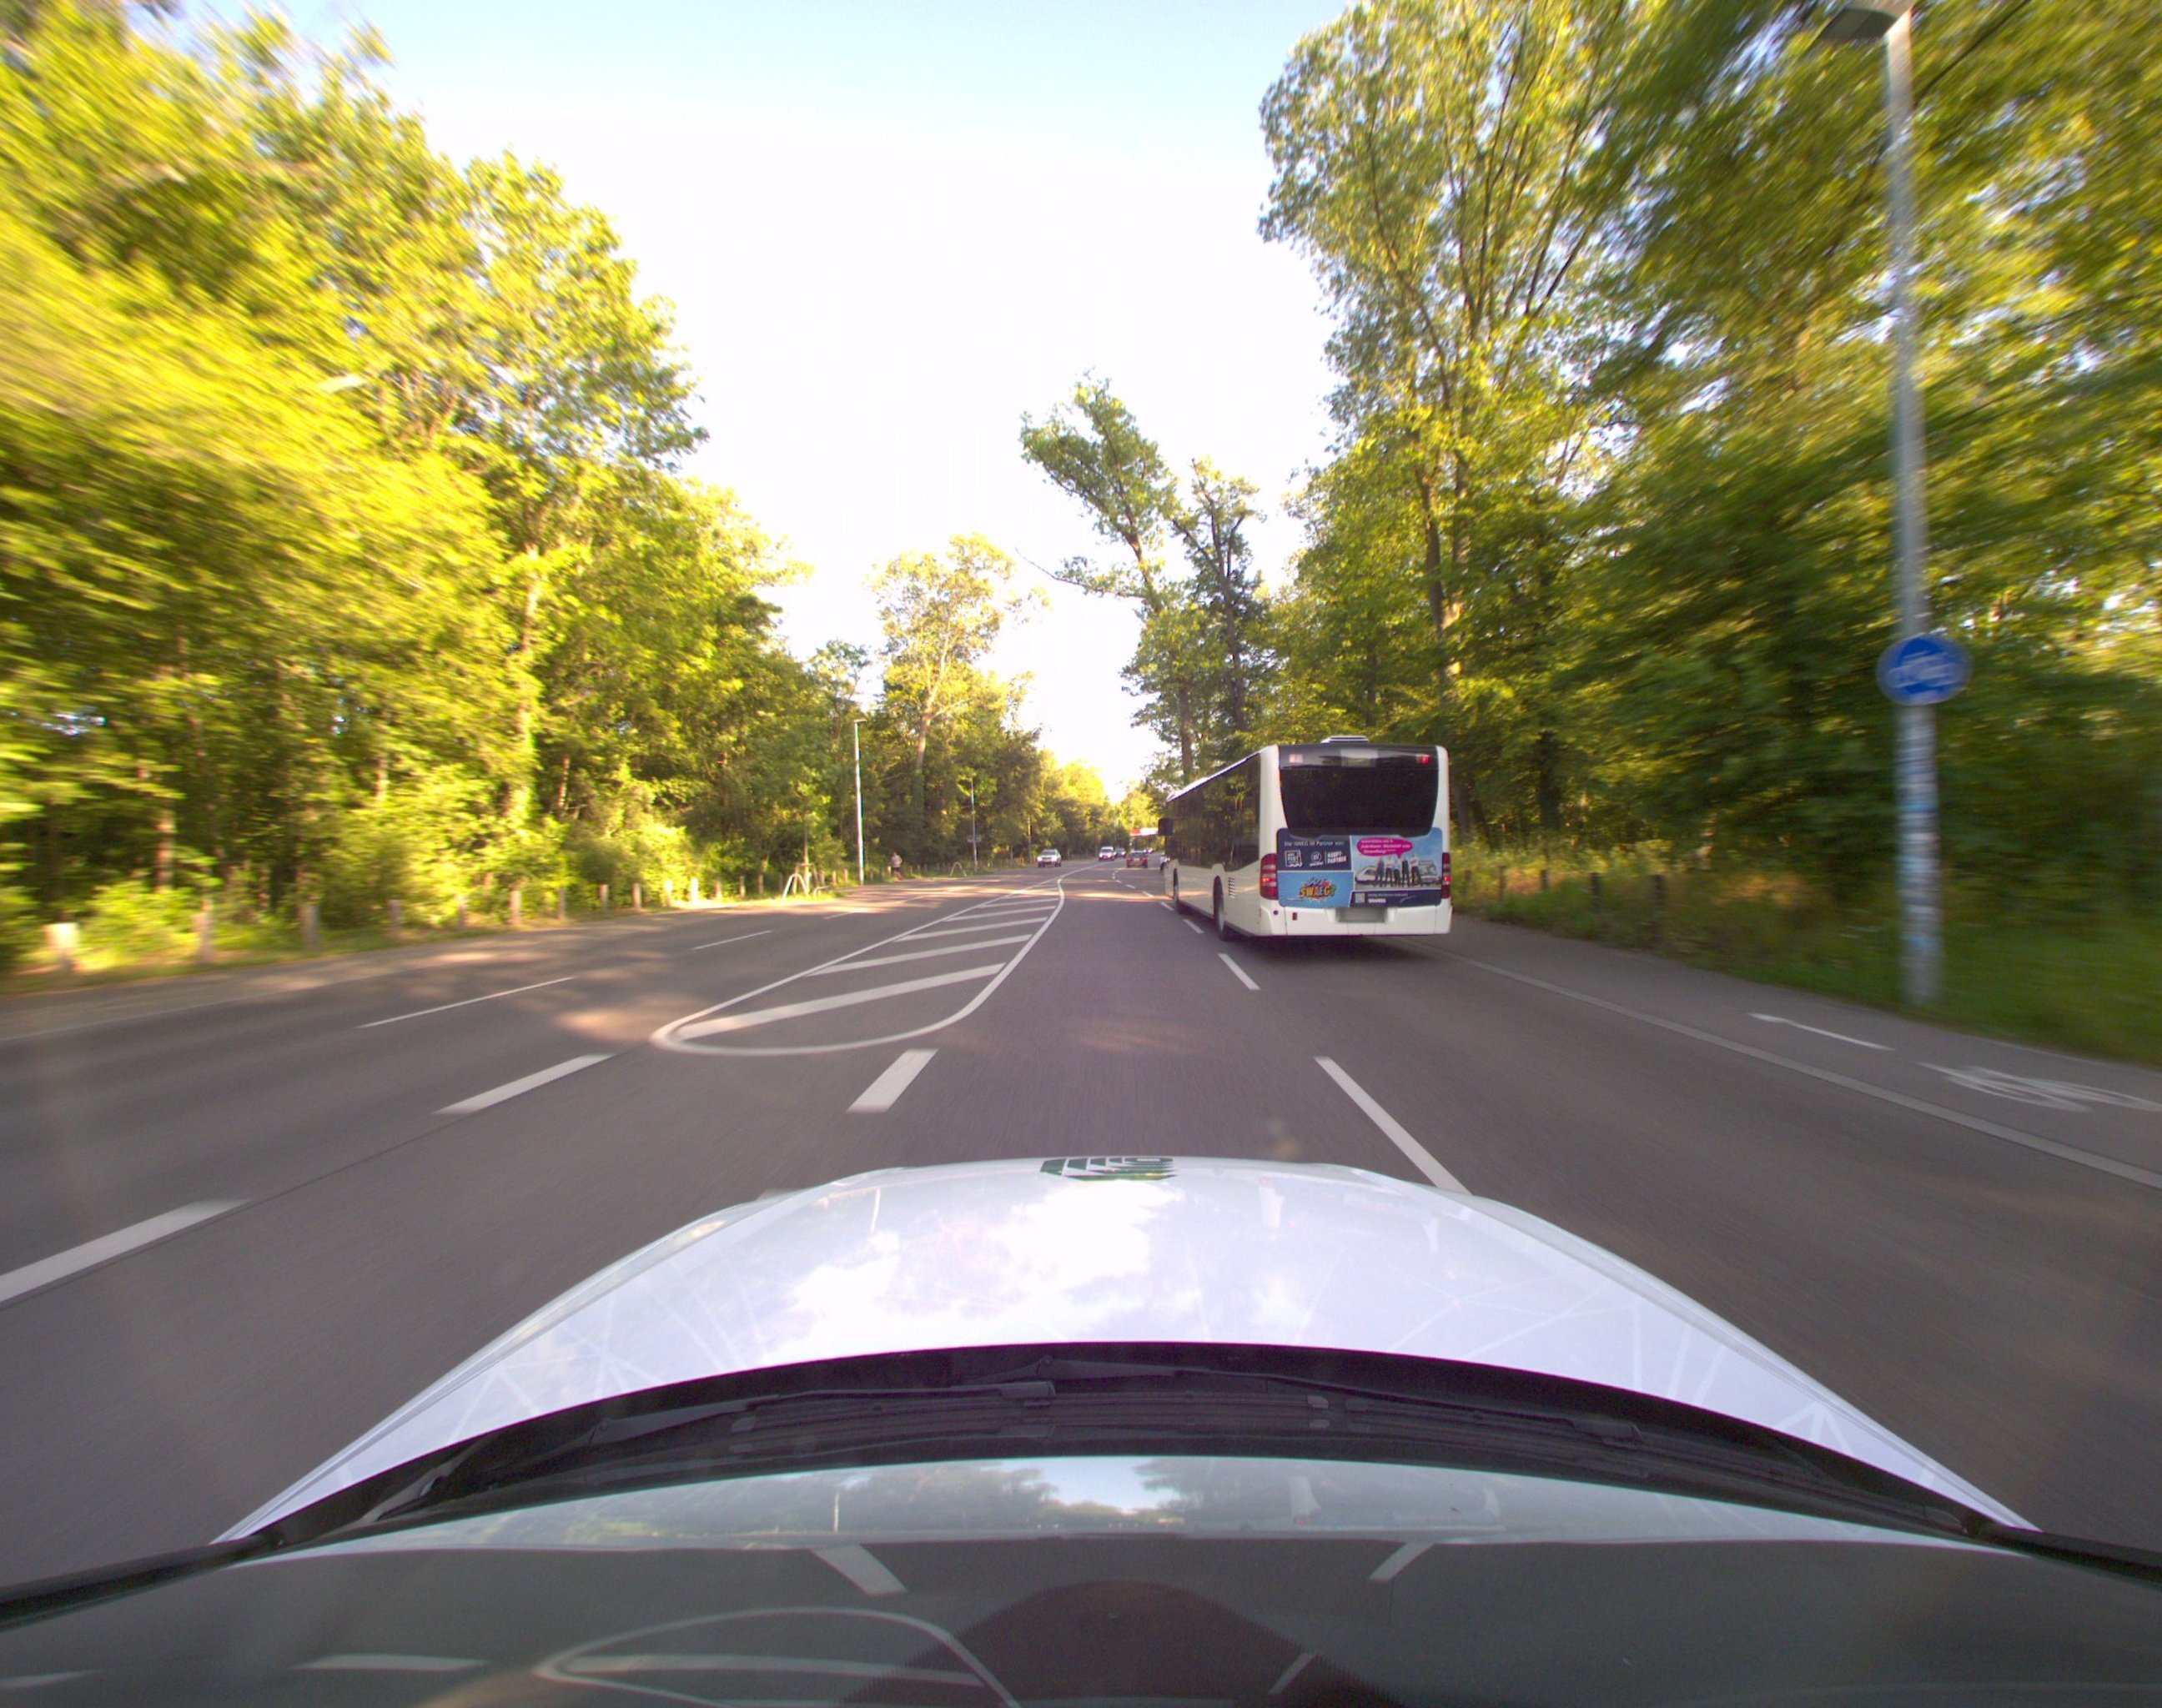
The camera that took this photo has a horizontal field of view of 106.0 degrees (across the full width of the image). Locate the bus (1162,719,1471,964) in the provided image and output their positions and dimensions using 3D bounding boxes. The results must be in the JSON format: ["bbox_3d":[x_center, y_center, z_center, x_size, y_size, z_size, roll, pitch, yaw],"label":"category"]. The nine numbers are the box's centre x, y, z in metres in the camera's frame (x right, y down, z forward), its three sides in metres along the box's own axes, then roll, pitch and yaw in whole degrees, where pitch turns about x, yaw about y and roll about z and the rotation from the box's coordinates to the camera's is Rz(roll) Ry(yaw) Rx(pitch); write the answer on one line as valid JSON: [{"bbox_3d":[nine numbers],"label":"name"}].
[{"bbox_3d":[3.555,-0.118,16.260,2.681,3.042,12.039,-1,0,0],"label":"bus"}]

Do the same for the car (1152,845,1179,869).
[{"bbox_3d":[6.272,0.240,59.929,1.621,1.659,4.144,-1,-1,10],"label":"car"}]

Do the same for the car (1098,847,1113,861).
[{"bbox_3d":[3.180,0.016,106.098,1.856,1.729,4.002,-1,-1,2],"label":"car"}]

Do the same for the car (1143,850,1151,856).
[{"bbox_3d":[16.556,-0.188,203.951,1.855,1.565,4.003,-1,-1,3],"label":"car"}]

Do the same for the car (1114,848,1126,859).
[{"bbox_3d":[6.214,-0.057,129.891,1.855,1.565,4.003,-1,-1,3],"label":"car"}]

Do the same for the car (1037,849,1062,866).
[{"bbox_3d":[-2.935,0.295,76.184,1.854,1.537,4.137,-1,-1,5],"label":"car"}]

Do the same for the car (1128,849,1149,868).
[{"bbox_3d":[4.929,0.384,69.477,1.624,1.547,4.137,-1,-1,5],"label":"car"}]

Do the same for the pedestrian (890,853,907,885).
[{"bbox_3d":[-10.510,0.837,46.934,0.776,1.812,0.770,-1,0,1],"label":"pedestrian"}]
